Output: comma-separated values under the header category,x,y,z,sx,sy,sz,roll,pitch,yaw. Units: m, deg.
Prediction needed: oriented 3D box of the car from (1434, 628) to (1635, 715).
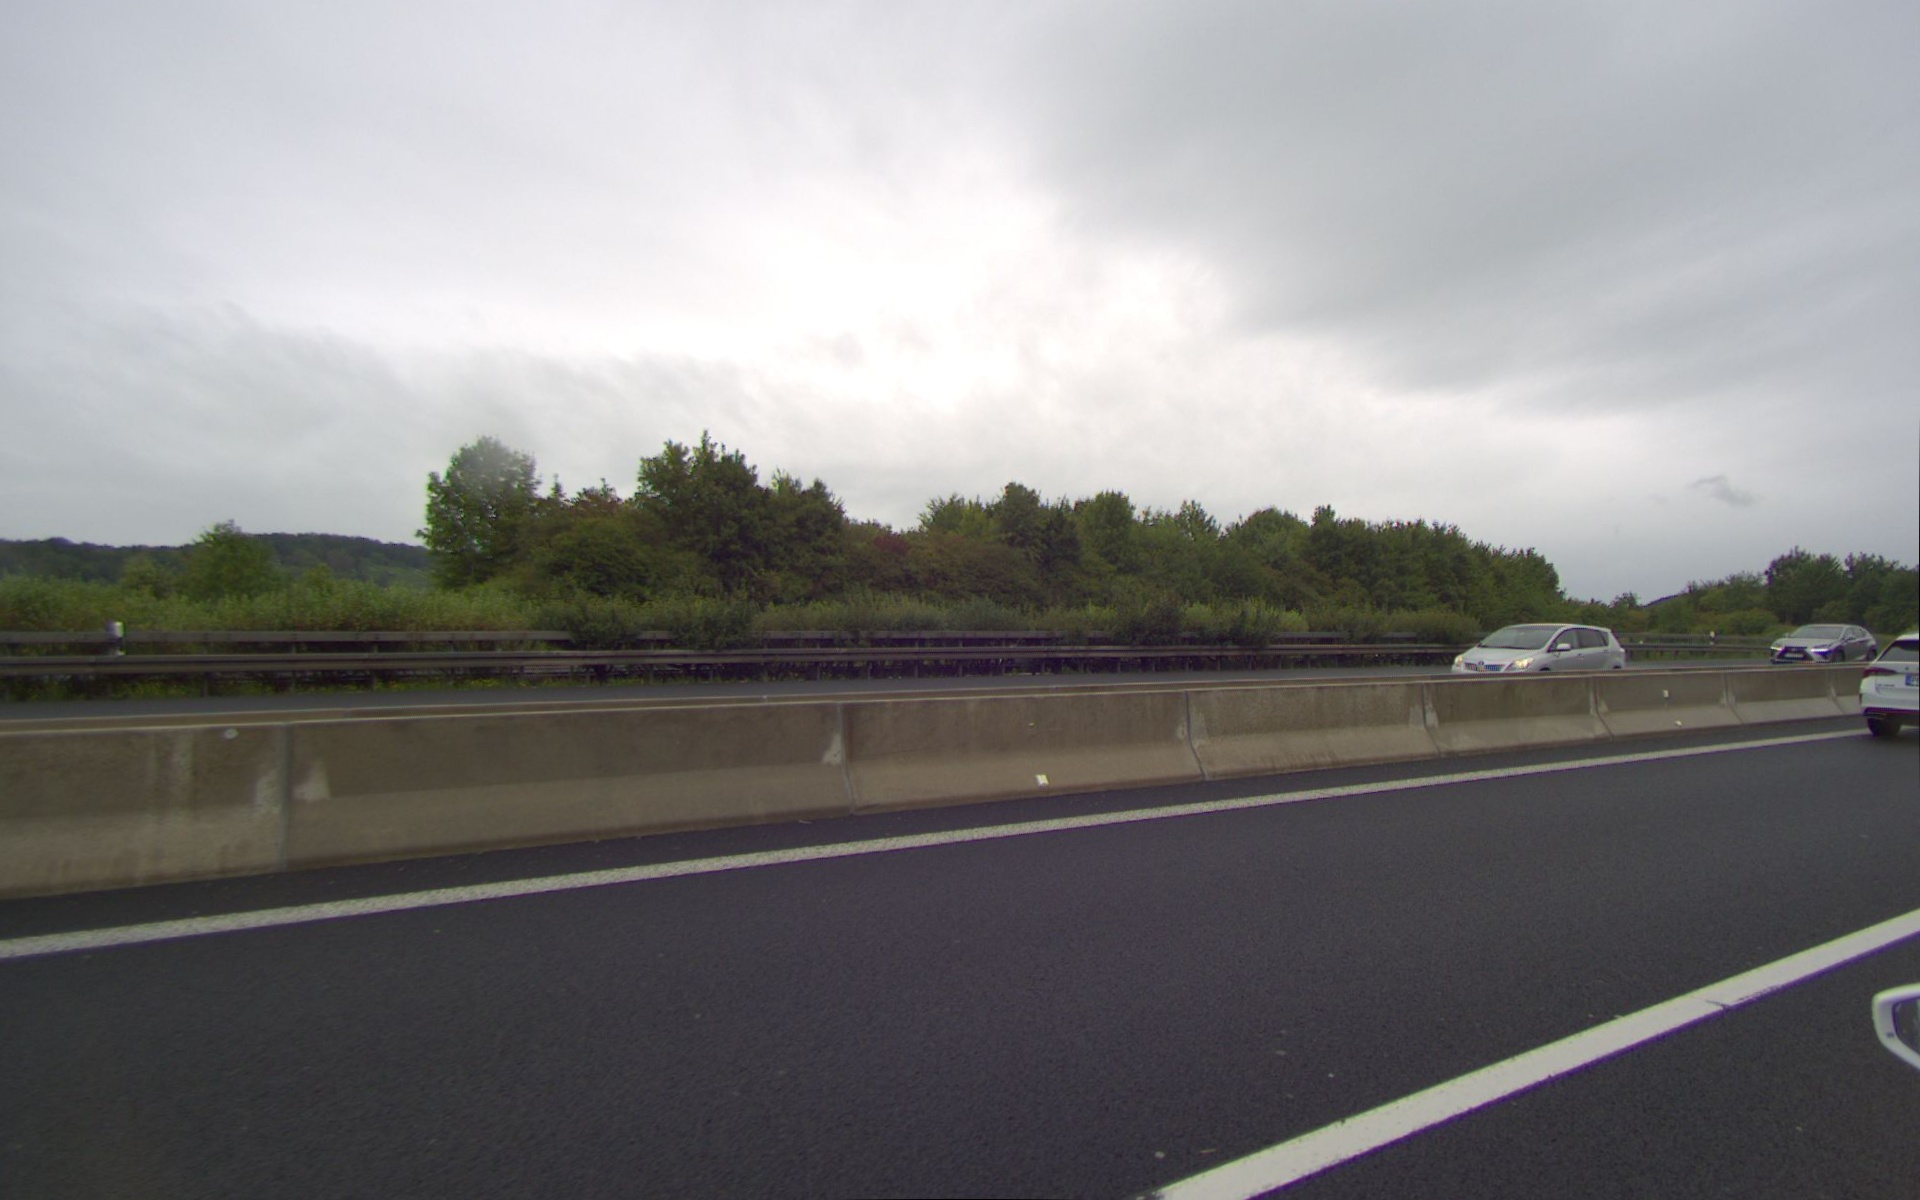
category,x,y,z,sx,sy,sz,roll,pitch,yaw
car,12.620,1.507,22.023,4.252,1.733,1.984,2,-2,-30

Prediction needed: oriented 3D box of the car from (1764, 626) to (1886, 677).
category,x,y,z,sx,sy,sz,roll,pitch,yaw
car,30.512,1.788,35.398,4.549,1.672,1.883,2,-2,-30

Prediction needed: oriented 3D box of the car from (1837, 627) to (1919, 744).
category,x,y,z,sx,sy,sz,roll,pitch,yaw
car,14.209,1.141,13.827,4.721,1.475,1.810,2,-2,-30
